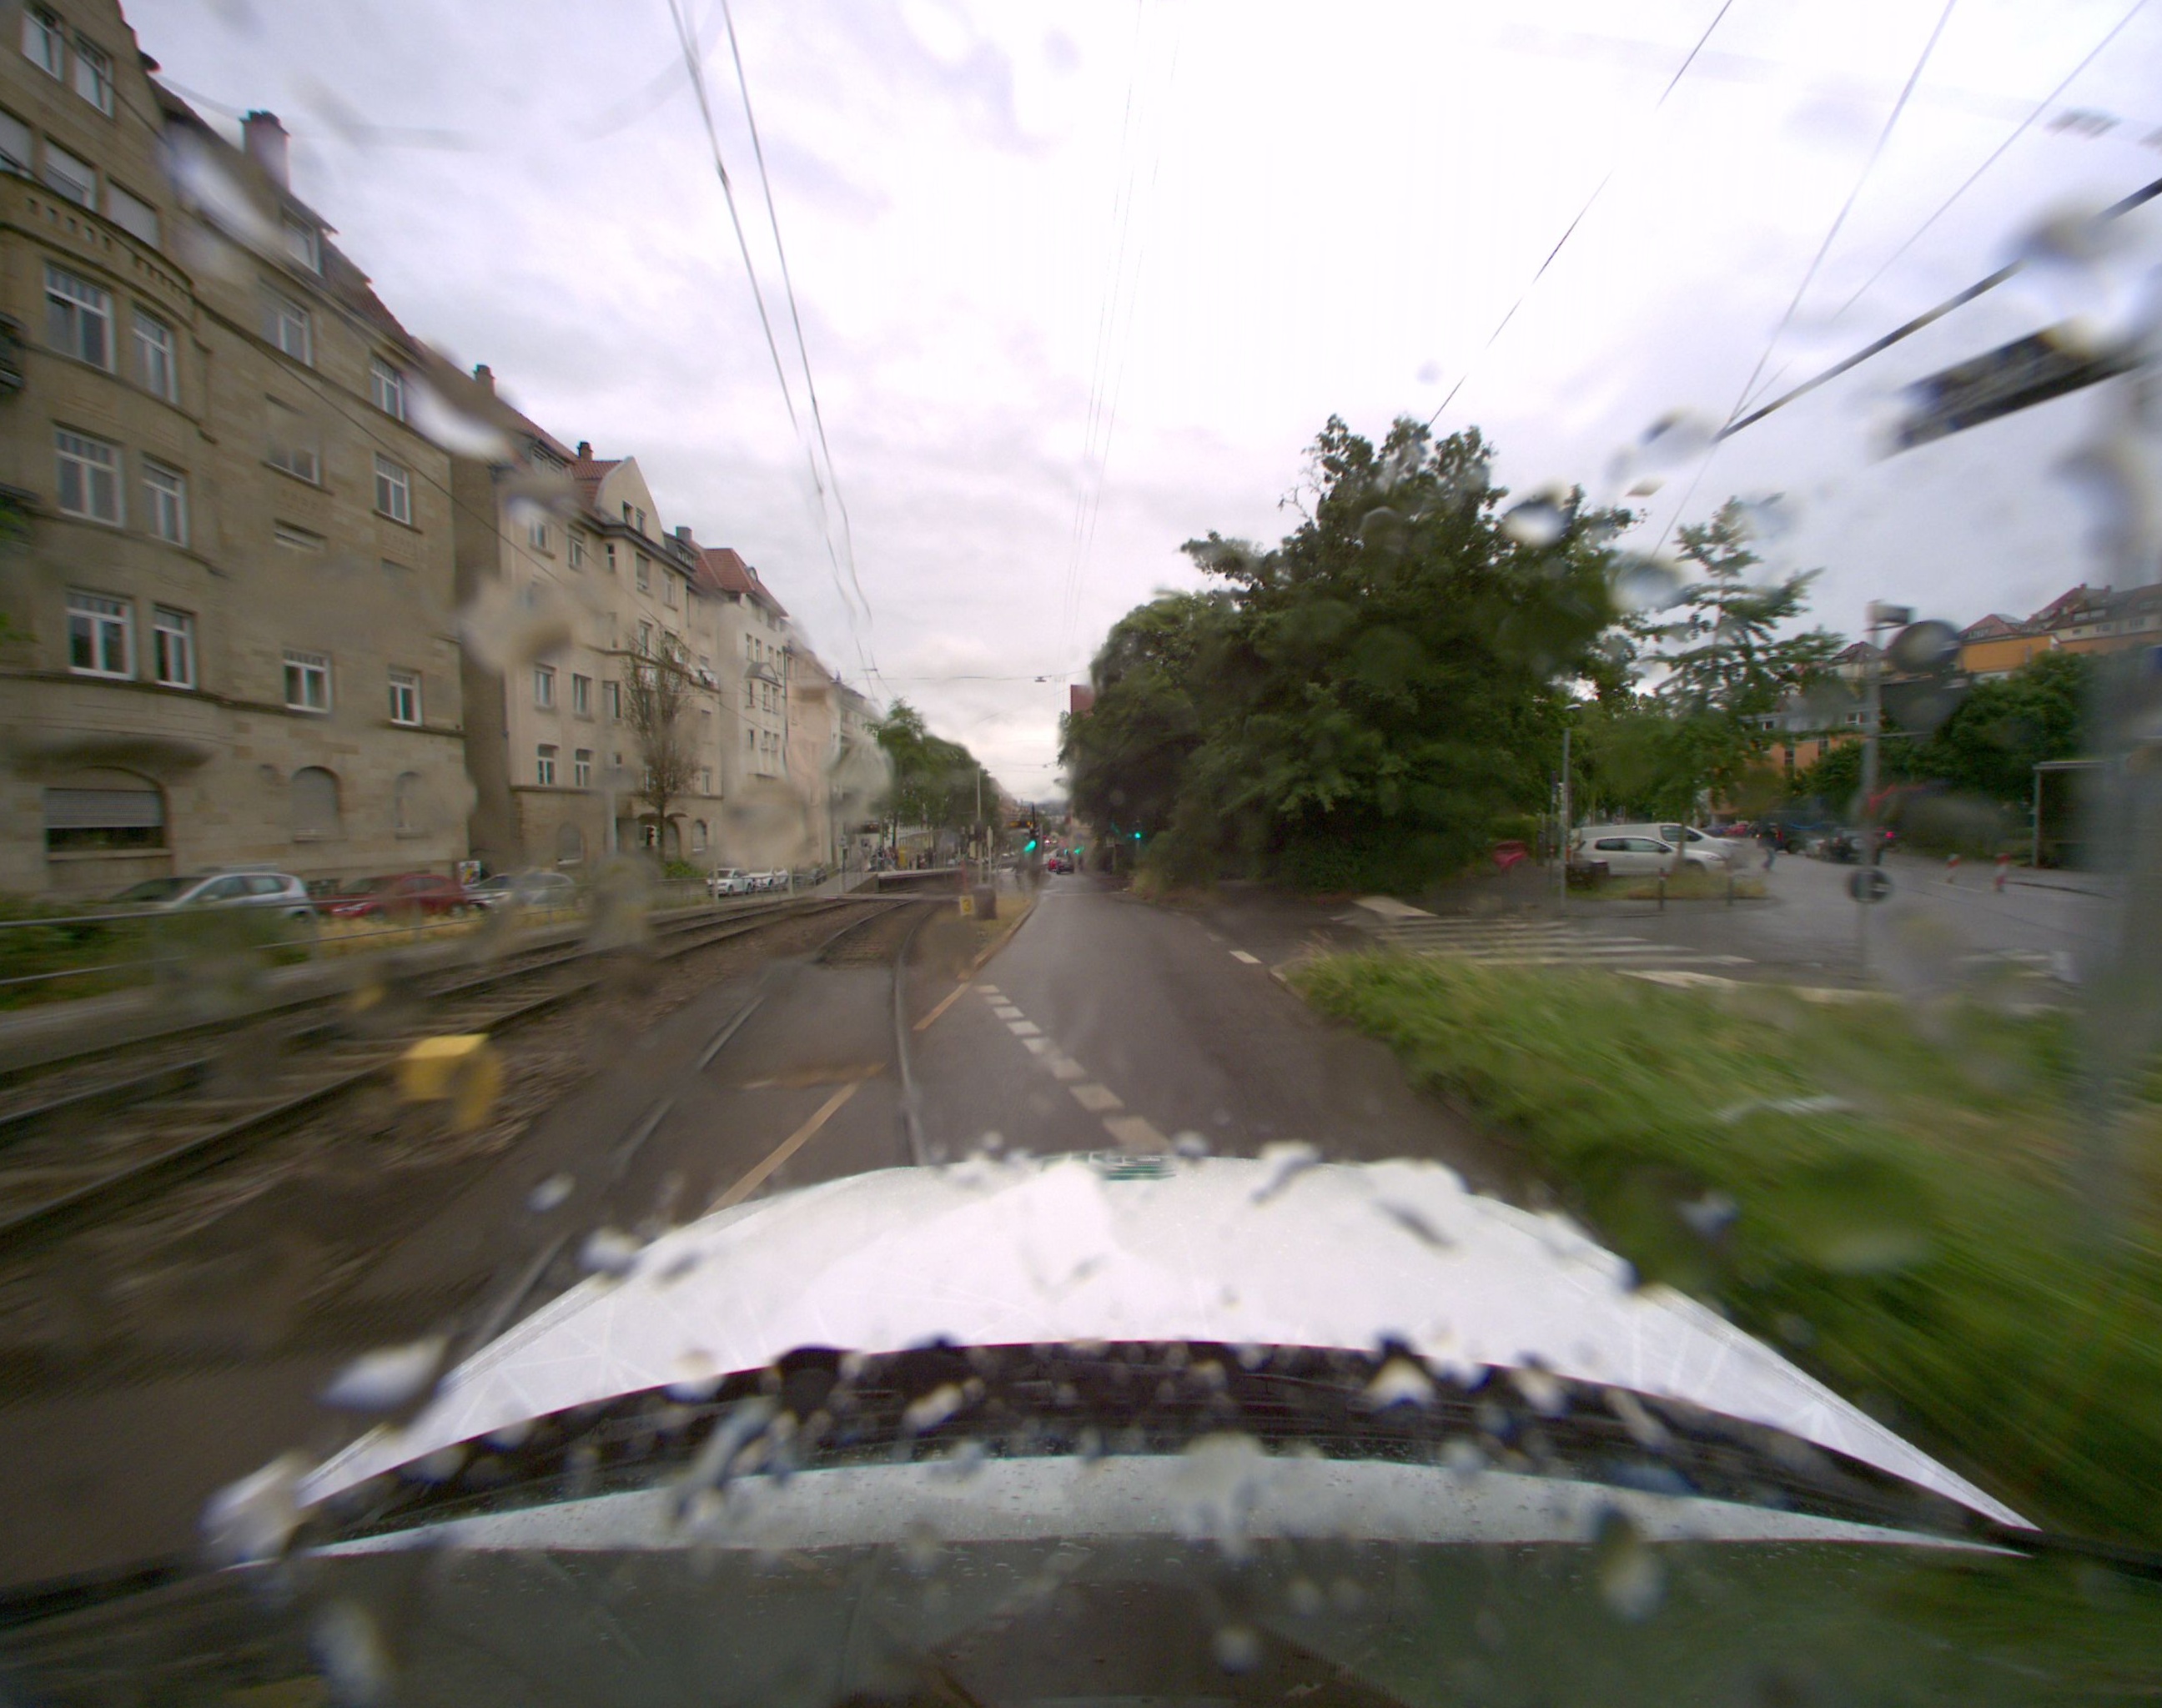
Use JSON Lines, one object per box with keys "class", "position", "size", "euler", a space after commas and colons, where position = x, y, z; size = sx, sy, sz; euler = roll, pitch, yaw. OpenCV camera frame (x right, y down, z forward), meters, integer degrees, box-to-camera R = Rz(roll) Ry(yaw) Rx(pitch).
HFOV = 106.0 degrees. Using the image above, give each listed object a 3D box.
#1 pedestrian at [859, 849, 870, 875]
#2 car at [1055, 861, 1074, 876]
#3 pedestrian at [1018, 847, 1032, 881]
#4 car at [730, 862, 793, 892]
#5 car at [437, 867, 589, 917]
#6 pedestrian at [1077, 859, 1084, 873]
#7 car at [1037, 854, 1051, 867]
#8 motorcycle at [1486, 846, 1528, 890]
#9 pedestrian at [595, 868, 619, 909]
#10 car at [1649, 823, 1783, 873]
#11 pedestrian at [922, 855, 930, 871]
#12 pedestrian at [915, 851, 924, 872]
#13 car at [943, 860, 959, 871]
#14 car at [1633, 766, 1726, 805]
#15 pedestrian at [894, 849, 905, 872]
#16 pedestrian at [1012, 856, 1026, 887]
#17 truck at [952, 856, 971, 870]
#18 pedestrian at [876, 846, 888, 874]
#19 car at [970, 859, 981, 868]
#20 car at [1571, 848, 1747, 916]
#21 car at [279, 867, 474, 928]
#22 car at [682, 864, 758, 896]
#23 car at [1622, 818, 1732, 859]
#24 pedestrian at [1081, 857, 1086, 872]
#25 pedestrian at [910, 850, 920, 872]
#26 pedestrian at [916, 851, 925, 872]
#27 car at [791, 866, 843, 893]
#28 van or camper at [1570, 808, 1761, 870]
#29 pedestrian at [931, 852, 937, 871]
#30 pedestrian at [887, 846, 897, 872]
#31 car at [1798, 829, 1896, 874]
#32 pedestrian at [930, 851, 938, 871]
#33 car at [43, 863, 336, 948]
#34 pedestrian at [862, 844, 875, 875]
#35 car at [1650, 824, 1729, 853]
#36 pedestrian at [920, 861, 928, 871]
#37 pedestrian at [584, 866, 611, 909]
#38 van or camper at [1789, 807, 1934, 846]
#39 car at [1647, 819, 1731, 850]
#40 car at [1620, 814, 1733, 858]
{"class": "pedestrian", "position": [-13.376, 0.495, 50.361], "size": [0.514, 1.605, 0.562], "euler": [-2, -1, -2]}
{"class": "car", "position": [-1.734, 1.489, 85.444], "size": [1.847, 1.473, 3.996], "euler": [-1, 0, -3]}
{"class": "pedestrian", "position": [-2.966, 0.521, 43.024], "size": [0.648, 1.784, 0.847], "euler": [-1, -1, -1]}
{"class": "car", "position": [-18.948, 1.345, 48.572], "size": [1.917, 1.622, 4.534], "euler": [-2, 0, 0]}
{"class": "car", "position": [-18.407, 1.157, 26.730], "size": [1.713, 1.442, 4.864], "euler": [-1, -1, -2]}
{"class": "pedestrian", "position": [-0.047, 1.438, 95.971], "size": [0.694, 1.695, 0.555], "euler": [0, -1, -4]}
{"class": "car", "position": [-5.239, 0.883, 113.995], "size": [1.944, 1.793, 4.139], "euler": [0, -1, -3]}
{"class": "motorcycle", "position": [14.297, 0.469, 27.300], "size": [0.815, 1.375, 2.445], "euler": [4, 2, 36]}
{"class": "pedestrian", "position": [-17.925, 1.282, 30.802], "size": [0.518, 1.532, 0.620], "euler": [-1, -1, 0]}
{"class": "car", "position": [24.101, -0.186, 30.997], "size": [3.854, 1.684, 1.749], "euler": [-3, -1, 39]}
{"class": "pedestrian", "position": [-13.285, 0.772, 69.698], "size": [0.548, 1.413, 0.613], "euler": [-2, -1, -2]}
{"class": "pedestrian", "position": [-13.172, 0.611, 66.522], "size": [0.592, 1.666, 0.591], "euler": [-2, -1, -2]}
{"class": "car", "position": [-20.294, 1.760, 127.308], "size": [1.721, 1.515, 4.494], "euler": [-1, 0, 0]}
{"class": "car", "position": [32.342, -3.649, 44.060], "size": [3.949, 1.772, 1.859], "euler": [0, 1, 40]}
{"class": "pedestrian", "position": [-13.552, 0.514, 60.733], "size": [0.592, 1.666, 0.761], "euler": [-2, -1, -2]}
{"class": "pedestrian", "position": [-3.112, 0.865, 40.708], "size": [0.649, 1.562, 0.683], "euler": [-1, -1, -2]}
{"class": "truck", "position": [-20.199, 1.498, 137.474], "size": [2.044, 2.393, 6.323], "euler": [-1, -1, 2]}
{"class": "pedestrian", "position": [-13.360, 0.408, 54.664], "size": [0.514, 1.838, 0.761], "euler": [-2, -1, -2]}
{"class": "car", "position": [-20.571, 1.888, 158.624], "size": [1.769, 1.546, 4.252], "euler": [-2, 0, -2]}
{"class": "car", "position": [18.490, 0.862, 26.204], "size": [4.451, 2.014, 2.013], "euler": [0, -1, 37]}
{"class": "car", "position": [-18.586, 1.082, 21.774], "size": [1.626, 1.442, 4.172], "euler": [-1, -1, -1]}
{"class": "car", "position": [-18.940, 1.364, 42.940], "size": [1.988, 1.533, 4.529], "euler": [1, -2, -1]}
{"class": "car", "position": [27.298, -0.677, 37.328], "size": [3.949, 1.772, 1.859], "euler": [0, 1, 40]}
{"class": "pedestrian", "position": [0.260, 1.255, 96.615], "size": [0.553, 1.813, 0.649], "euler": [0, -1, -4]}
{"class": "pedestrian", "position": [-13.045, 0.568, 64.178], "size": [0.592, 1.666, 0.761], "euler": [-2, -1, -2]}
{"class": "pedestrian", "position": [-13.308, 0.635, 67.644], "size": [0.548, 1.666, 0.613], "euler": [-2, -1, -2]}
{"class": "car", "position": [-18.592, 1.801, 57.511], "size": [1.986, 1.732, 4.814], "euler": [-2, -1, 1]}
{"class": "van or camper", "position": [20.233, -0.449, 28.353], "size": [5.115, 1.834, 2.012], "euler": [-3, -1, 42]}
{"class": "pedestrian", "position": [-13.432, 0.694, 74.423], "size": [0.481, 1.741, 0.563], "euler": [-2, -1, -2]}
{"class": "pedestrian", "position": [-13.497, 0.370, 58.201], "size": [0.514, 1.838, 0.761], "euler": [-2, -1, -2]}
{"class": "car", "position": [36.815, -0.141, 39.281], "size": [1.976, 2.013, 4.021], "euler": [-2, 0, 21]}
{"class": "pedestrian", "position": [-12.845, 0.620, 70.971], "size": [0.548, 1.741, 0.613], "euler": [-2, -1, -2]}
{"class": "car", "position": [-18.456, 0.972, 17.211], "size": [1.626, 1.547, 4.172], "euler": [-1, -1, -1]}
{"class": "pedestrian", "position": [-13.006, 0.349, 49.803], "size": [0.559, 1.850, 0.598], "euler": [-2, -1, -2]}
{"class": "car", "position": [39.013, -0.975, 52.280], "size": [3.949, 1.772, 1.859], "euler": [0, 1, 40]}
{"class": "pedestrian", "position": [-13.284, 1.028, 68.794], "size": [0.548, 0.872, 0.613], "euler": [-2, -1, -2]}
{"class": "pedestrian", "position": [-17.856, 1.231, 30.098], "size": [0.623, 1.593, 0.620], "euler": [-1, -1, 0]}
{"class": "van or camper", "position": [45.896, -1.606, 48.044], "size": [5.882, 2.013, 2.008], "euler": [-2, 0, 15]}
{"class": "car", "position": [36.850, -1.177, 49.405], "size": [3.949, 1.772, 1.859], "euler": [0, 1, 40]}
{"class": "car", "position": [26.029, -0.742, 35.646], "size": [3.854, 1.684, 1.749], "euler": [-3, -1, 39]}
